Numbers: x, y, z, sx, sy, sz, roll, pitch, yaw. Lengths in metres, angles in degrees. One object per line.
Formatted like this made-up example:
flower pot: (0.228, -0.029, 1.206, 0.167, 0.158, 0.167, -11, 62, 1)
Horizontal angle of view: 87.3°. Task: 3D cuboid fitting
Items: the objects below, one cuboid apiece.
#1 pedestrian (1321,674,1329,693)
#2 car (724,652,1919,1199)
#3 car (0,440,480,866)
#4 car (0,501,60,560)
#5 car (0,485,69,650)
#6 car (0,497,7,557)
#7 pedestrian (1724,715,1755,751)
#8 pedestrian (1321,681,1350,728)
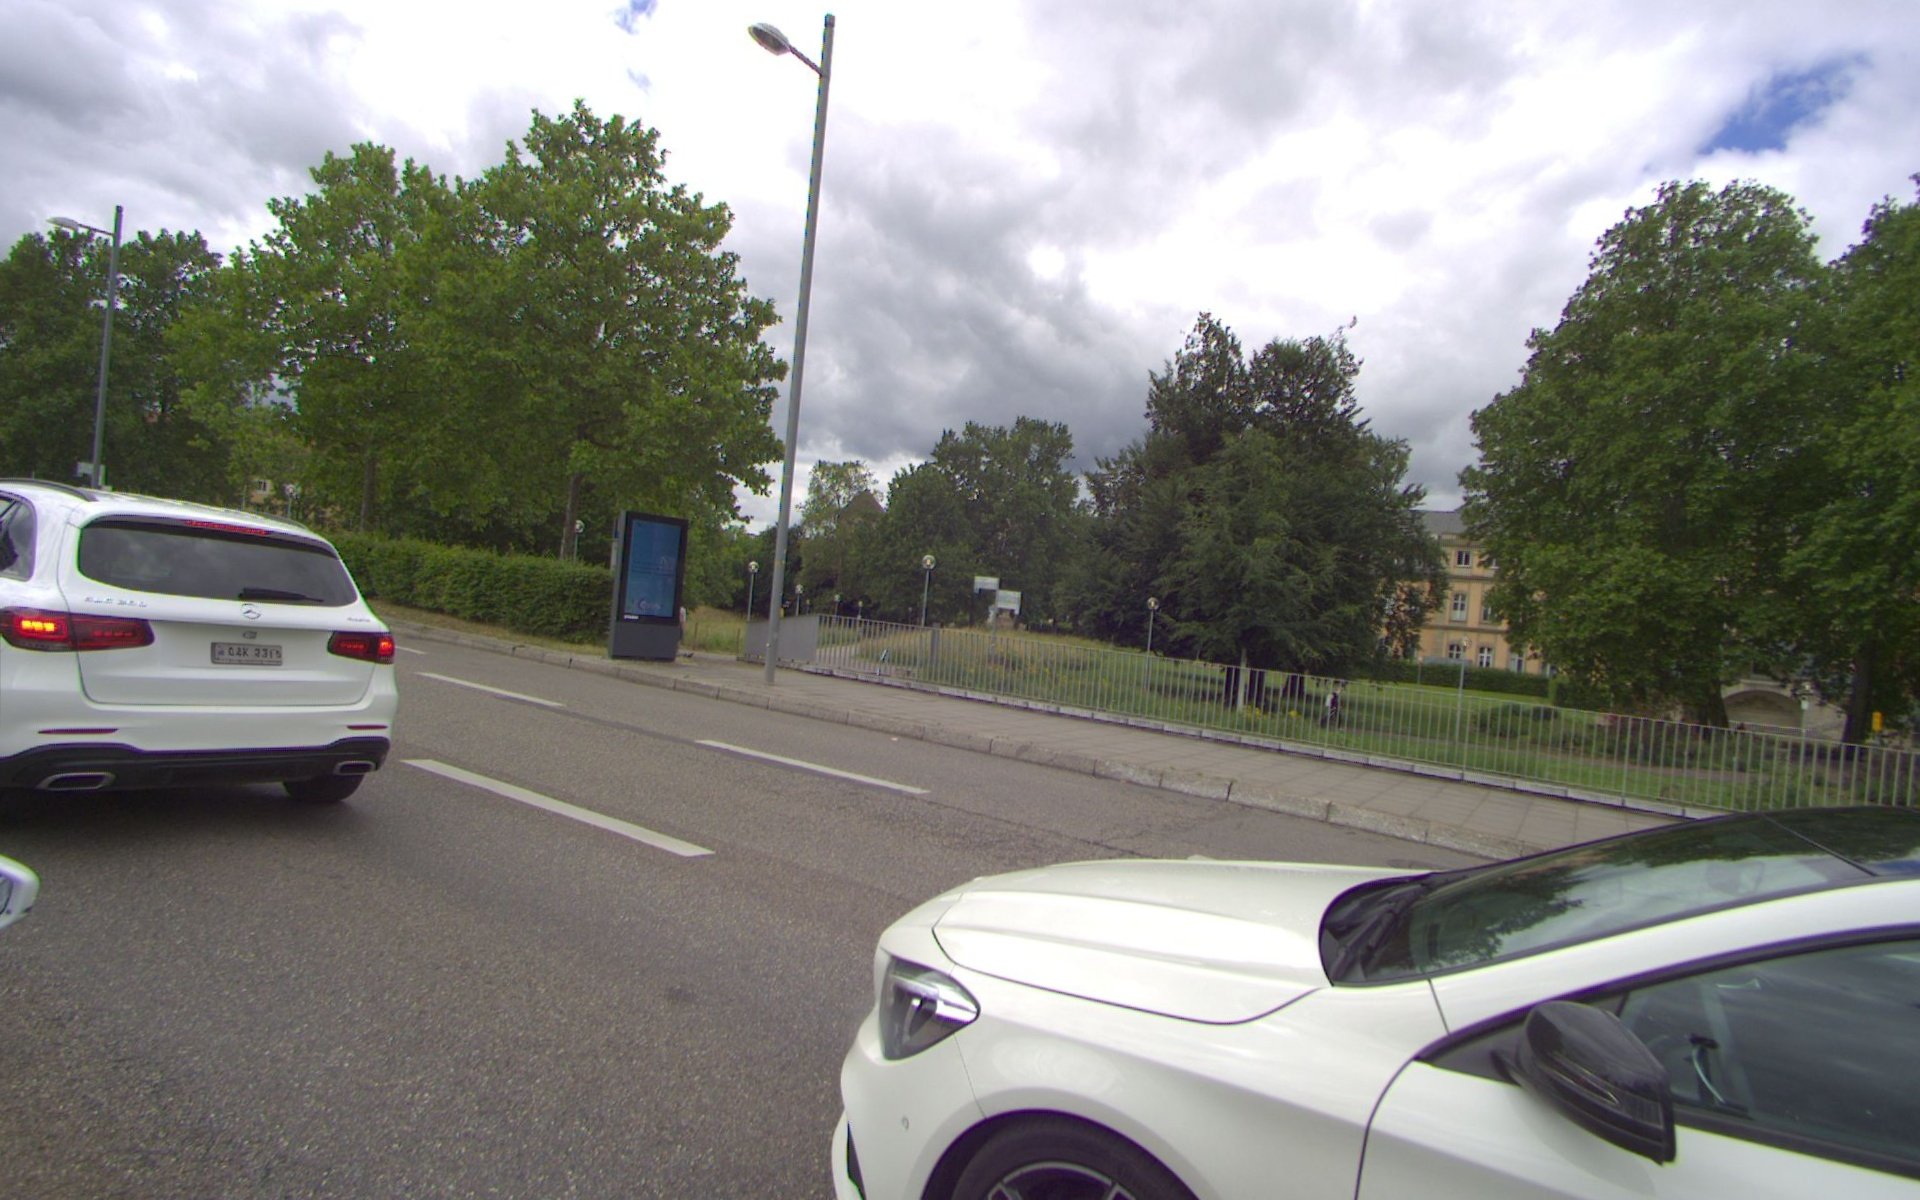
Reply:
pedestrian: (35.281, 8.069, 97.214, 0.400, 1.756, 0.466, 7, -2, -20)
car: (1.845, 1.087, 1.837, 4.454, 1.436, 1.796, 5, -2, 33)
car: (-5.080, 0.099, 5.920, 4.417, 1.673, 1.929, 6, -1, 33)
car: (-28.113, -2.113, 29.282, 4.459, 1.476, 1.932, 5, -3, 37)
car: (-11.381, -0.547, 10.489, 4.417, 1.569, 1.929, 6, -2, 33)
car: (-22.923, -1.662, 22.025, 4.235, 1.659, 1.996, 7, -1, 34)
pedestrian: (48.254, 8.245, 62.271, 0.925, 2.036, 1.107, 6, -2, 4)
pedestrian: (13.900, 3.858, 37.255, 0.645, 1.619, 0.684, 6, -2, 0)
